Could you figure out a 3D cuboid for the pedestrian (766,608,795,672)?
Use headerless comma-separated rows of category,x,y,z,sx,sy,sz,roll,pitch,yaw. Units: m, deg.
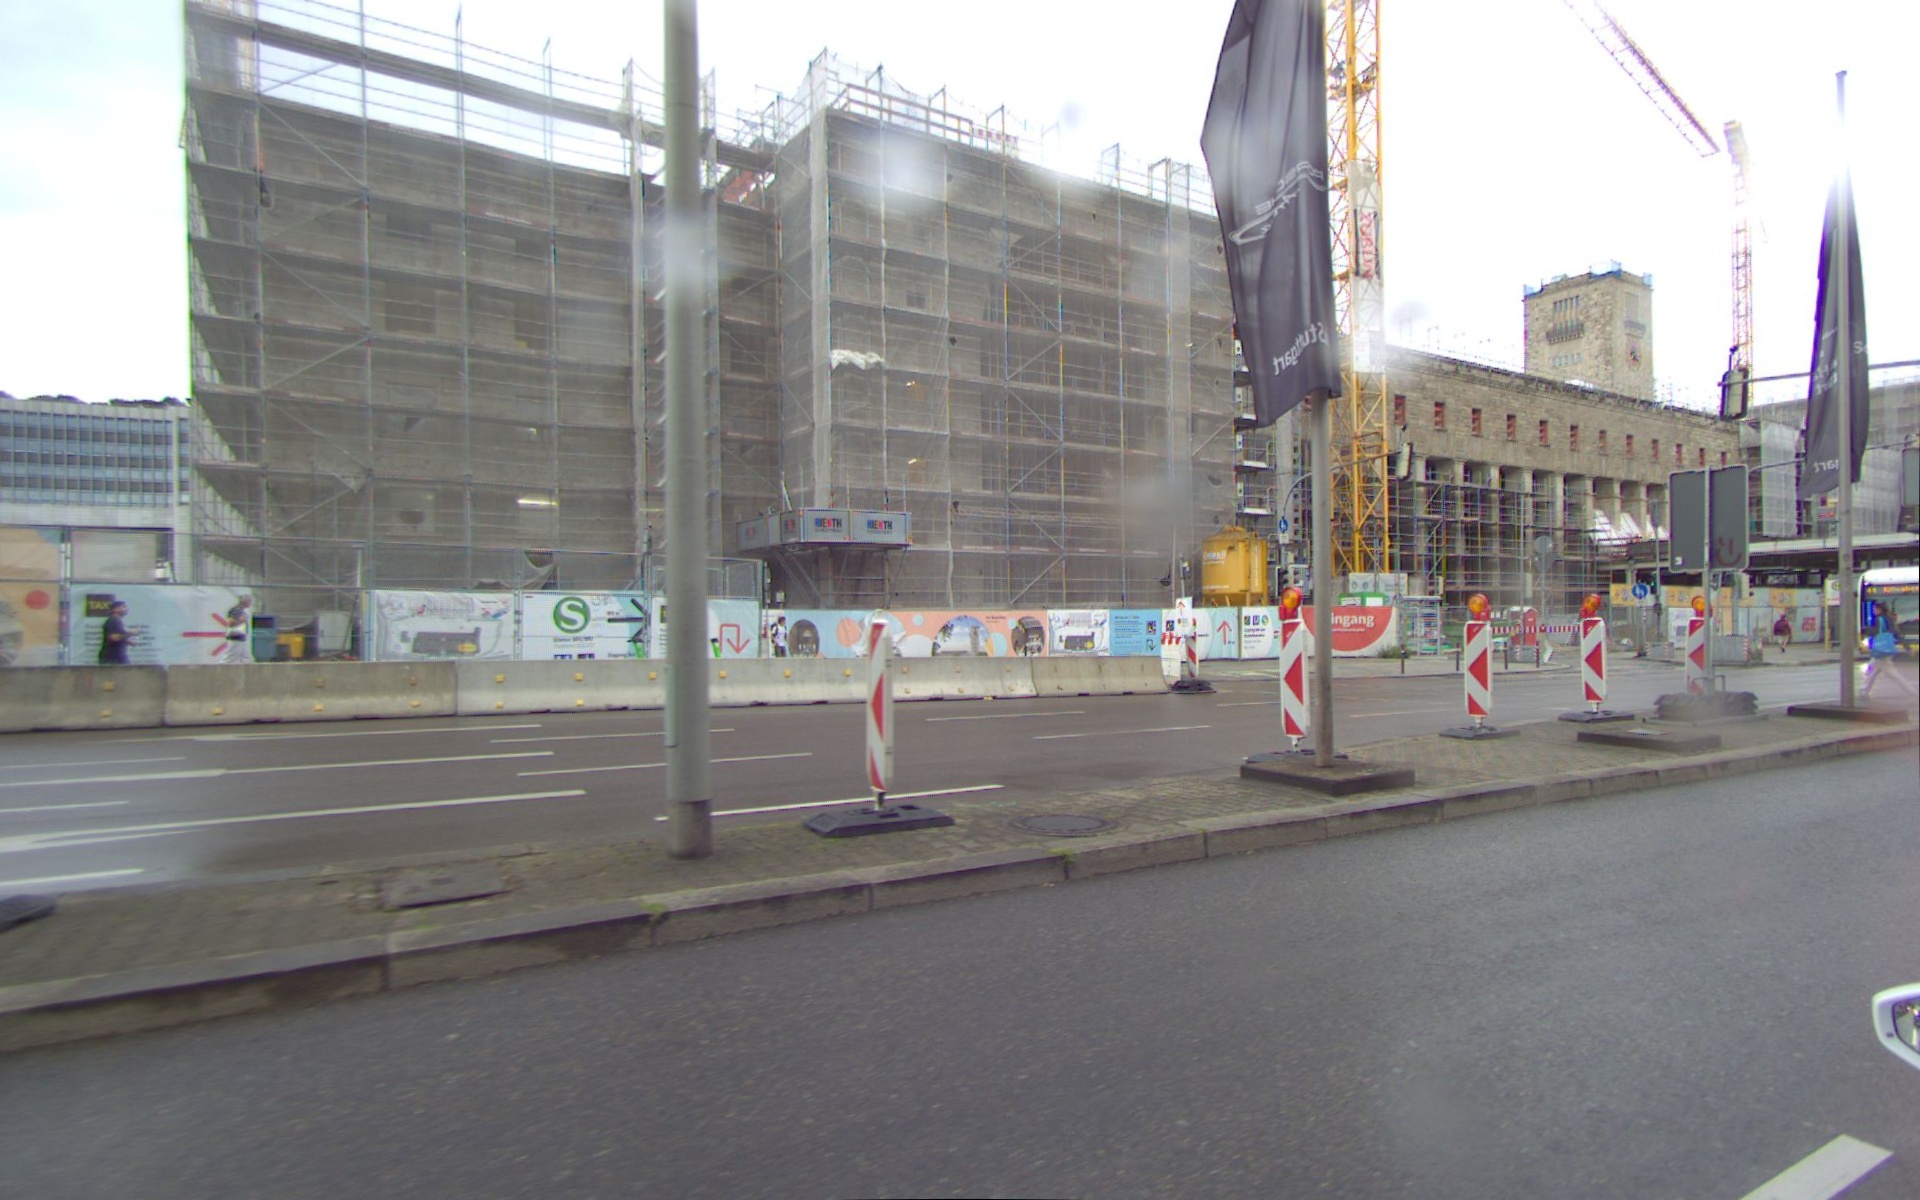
pedestrian,-5.313,1.188,29.773,0.709,1.860,0.478,1,0,-30

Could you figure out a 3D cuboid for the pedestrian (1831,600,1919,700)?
pedestrian,15.214,0.811,16.683,0.890,1.584,0.909,1,0,-33

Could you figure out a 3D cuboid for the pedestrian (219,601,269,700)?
pedestrian,-13.765,0.960,19.331,0.709,1.860,0.478,1,0,-30

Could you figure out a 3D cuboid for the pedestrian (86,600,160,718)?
pedestrian,-13.613,0.948,16.357,0.810,1.860,0.576,1,0,-30

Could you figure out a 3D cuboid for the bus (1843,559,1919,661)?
bus,38.374,0.447,39.298,10.118,3.650,2.655,1,0,-30

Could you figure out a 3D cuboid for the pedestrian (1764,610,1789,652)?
pedestrian,37.487,1.417,46.131,0.789,1.879,0.659,1,-1,-30
